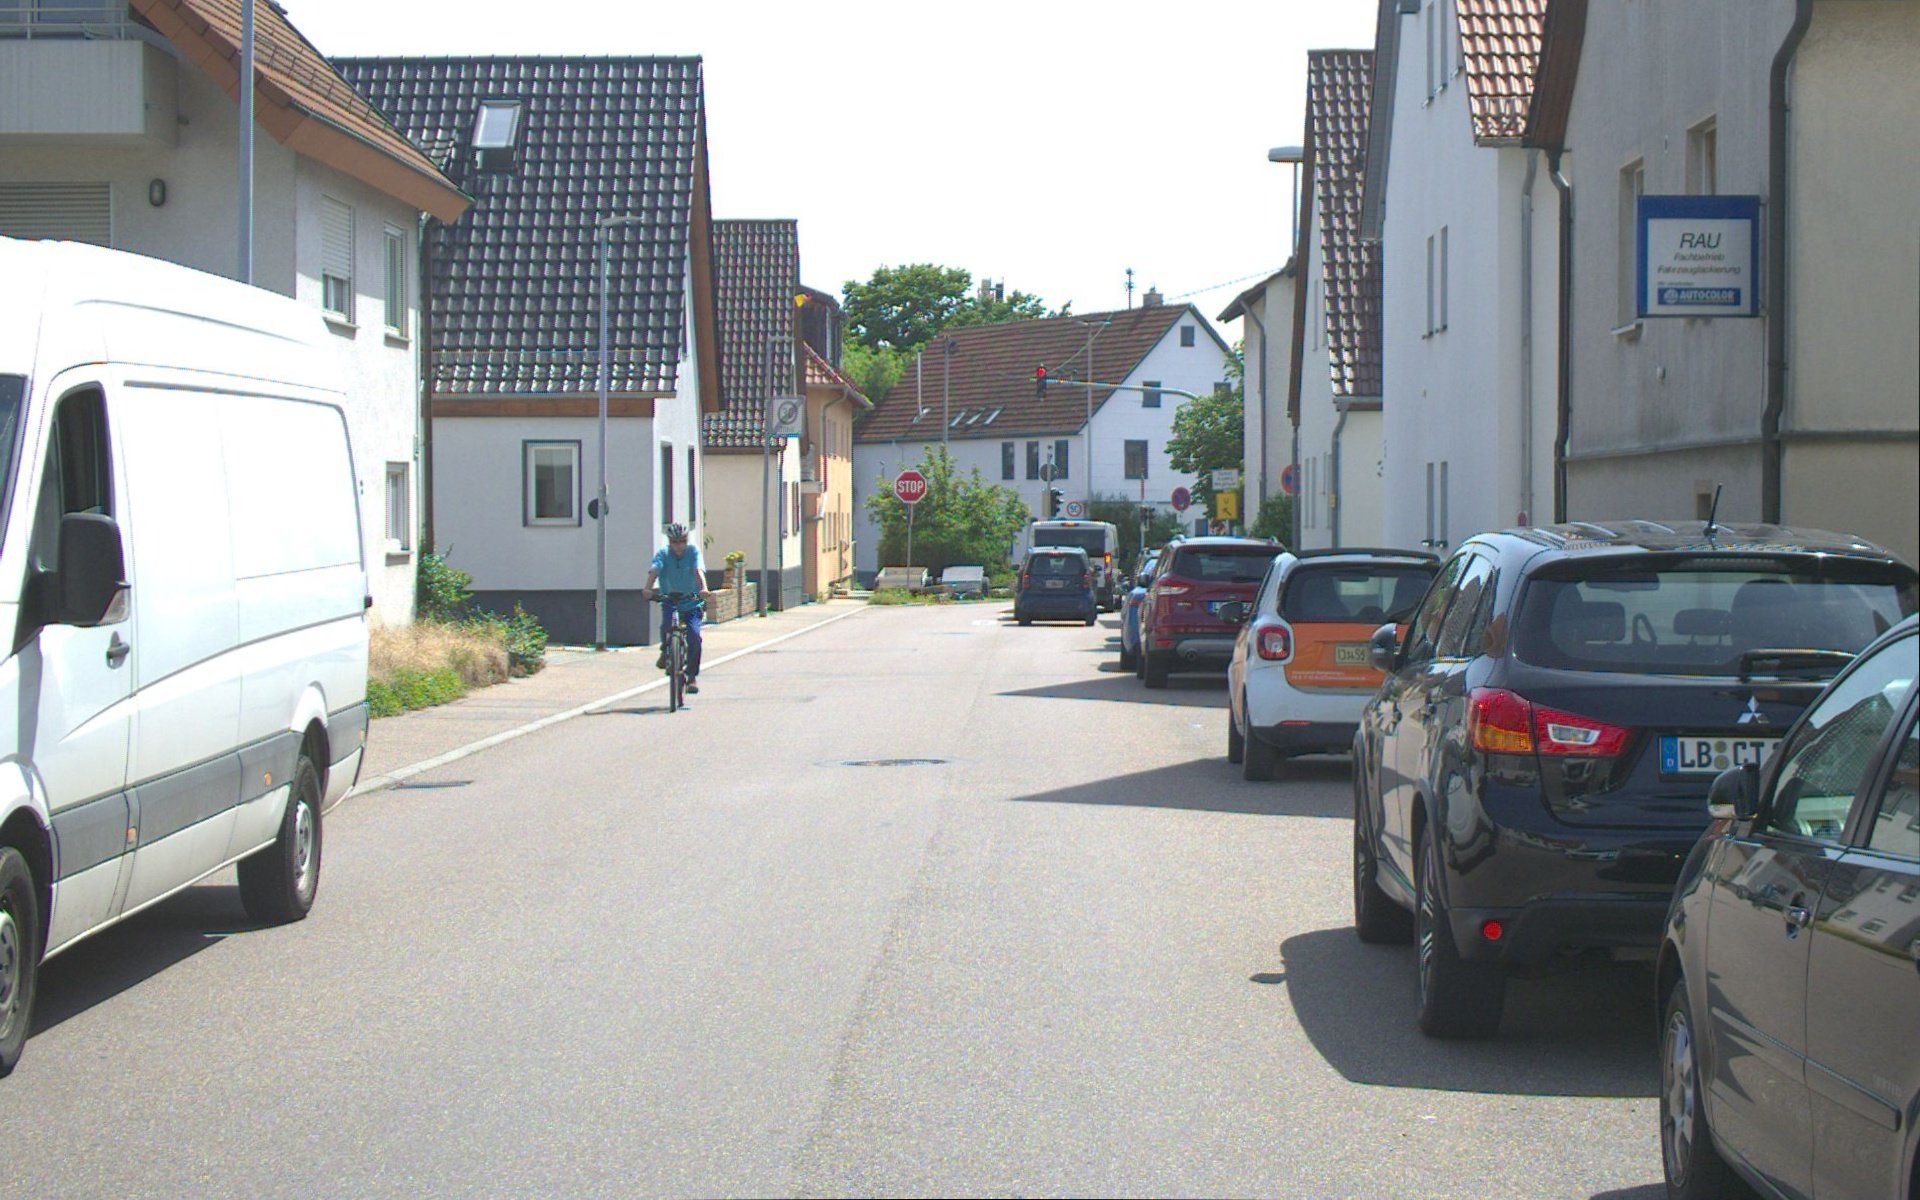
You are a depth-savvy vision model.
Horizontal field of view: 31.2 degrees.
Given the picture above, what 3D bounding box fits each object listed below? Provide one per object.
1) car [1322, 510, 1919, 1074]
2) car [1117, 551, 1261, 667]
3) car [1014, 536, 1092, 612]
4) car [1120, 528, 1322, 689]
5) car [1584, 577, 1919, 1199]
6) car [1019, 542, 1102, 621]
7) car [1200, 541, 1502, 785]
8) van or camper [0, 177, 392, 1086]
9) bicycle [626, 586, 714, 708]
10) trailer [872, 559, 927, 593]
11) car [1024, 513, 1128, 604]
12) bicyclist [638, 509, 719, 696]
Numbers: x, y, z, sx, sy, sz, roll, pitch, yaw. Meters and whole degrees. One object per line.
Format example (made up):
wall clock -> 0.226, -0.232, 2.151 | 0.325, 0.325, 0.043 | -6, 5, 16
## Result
car -> 2.300, 0.514, 11.968 | 1.728, 1.594, 4.253 | 1, 1, 2
car -> 2.961, 0.082, 45.118 | 1.763, 1.419, 4.591 | 1, 1, 2
car -> 2.052, -0.590, 75.029 | 1.516, 1.619, 3.184 | 0, 1, 5
car -> 2.889, 0.048, 38.893 | 1.875, 1.694, 4.183 | 1, 1, -1
car -> 2.302, 0.706, 6.329 | 1.610, 1.426, 3.754 | 1, 1, 0
car -> 2.059, -0.395, 69.963 | 1.516, 1.561, 3.184 | 1, 1, 5
car -> 2.642, 0.381, 23.803 | 1.673, 1.553, 3.040 | 1, 1, -1
van or camper -> -3.756, 0.030, 12.322 | 2.184, 2.563, 6.807 | 1, 1, 1
bicycle -> -2.824, 0.442, 33.643 | 0.670, 1.128, 2.189 | 1, 1, 0
trailer -> -1.768, -0.703, 100.024 | 1.502, 0.924, 1.012 | 2, 1, 3
car -> 2.871, -1.032, 84.233 | 2.129, 2.151, 4.735 | 0, 1, 7
bicyclist -> -2.739, 0.014, 33.541 | 0.713, 1.792, 0.942 | 0, 1, -1
